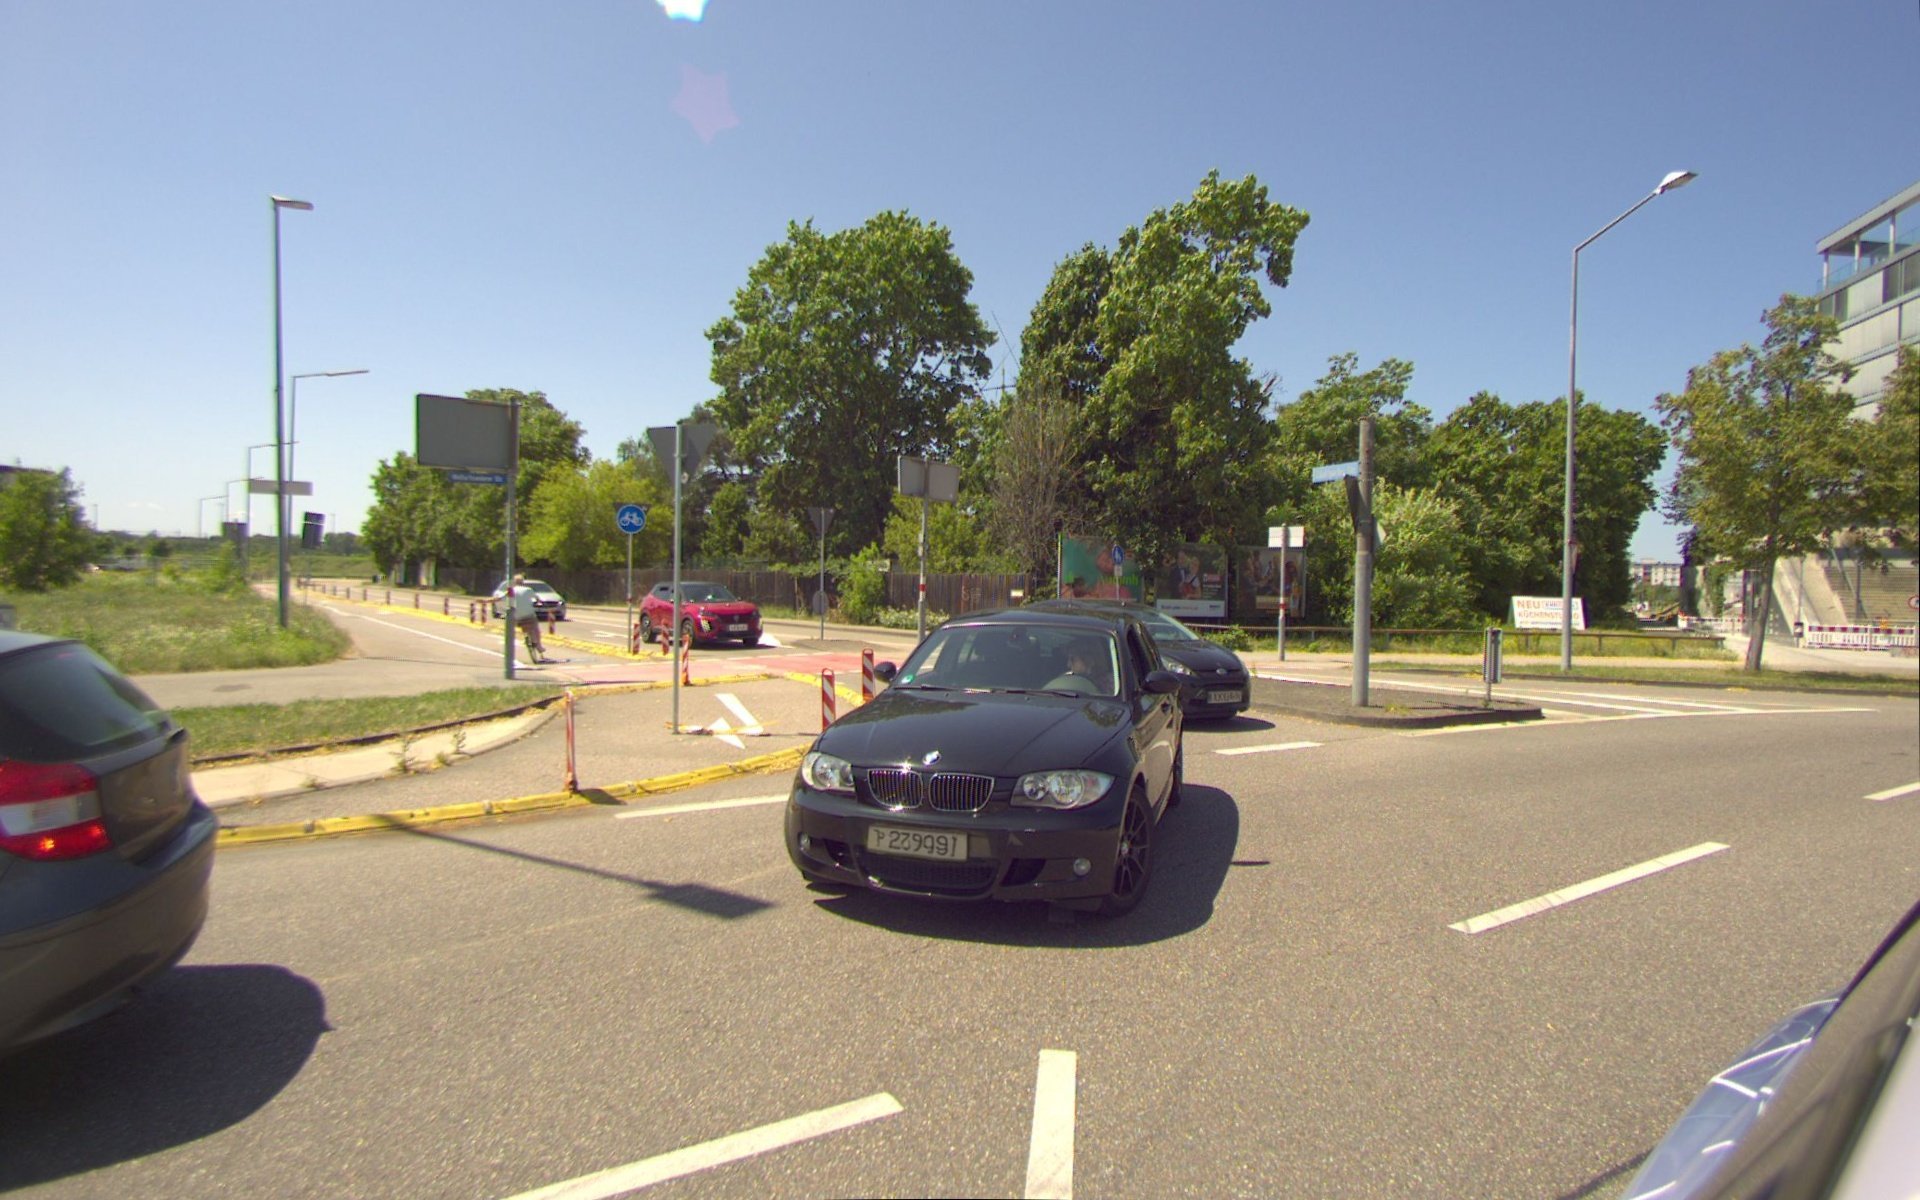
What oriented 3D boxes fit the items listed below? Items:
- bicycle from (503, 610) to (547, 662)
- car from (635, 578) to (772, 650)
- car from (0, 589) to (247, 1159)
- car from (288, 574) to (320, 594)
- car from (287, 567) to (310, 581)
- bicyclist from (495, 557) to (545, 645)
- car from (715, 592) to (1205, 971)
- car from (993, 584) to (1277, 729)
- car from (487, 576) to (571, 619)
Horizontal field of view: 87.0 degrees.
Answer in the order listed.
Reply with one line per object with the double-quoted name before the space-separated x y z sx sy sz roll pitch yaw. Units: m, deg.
"bicycle" -8.636 0.692 20.131 0.615 0.890 1.880 1 2 -18
"car" -6.306 0.272 24.596 1.690 1.546 4.209 0 1 -38
"car" -4.317 0.662 2.486 3.998 1.421 1.755 1 0 -29
"car" -54.958 -1.373 84.763 1.729 1.564 3.689 1 1 -40
"car" -74.532 -2.916 114.071 1.729 1.564 3.689 1 1 -40
"bicyclist" -8.630 0.015 19.899 0.733 1.661 1.165 1 0 -17
"car" 0.382 0.691 6.121 1.780 1.458 3.975 1 0 19
"car" 2.063 0.595 13.022 1.600 1.527 3.825 1 1 -27
"car" -15.804 -0.128 36.985 1.830 1.446 3.997 -1 2 -38
